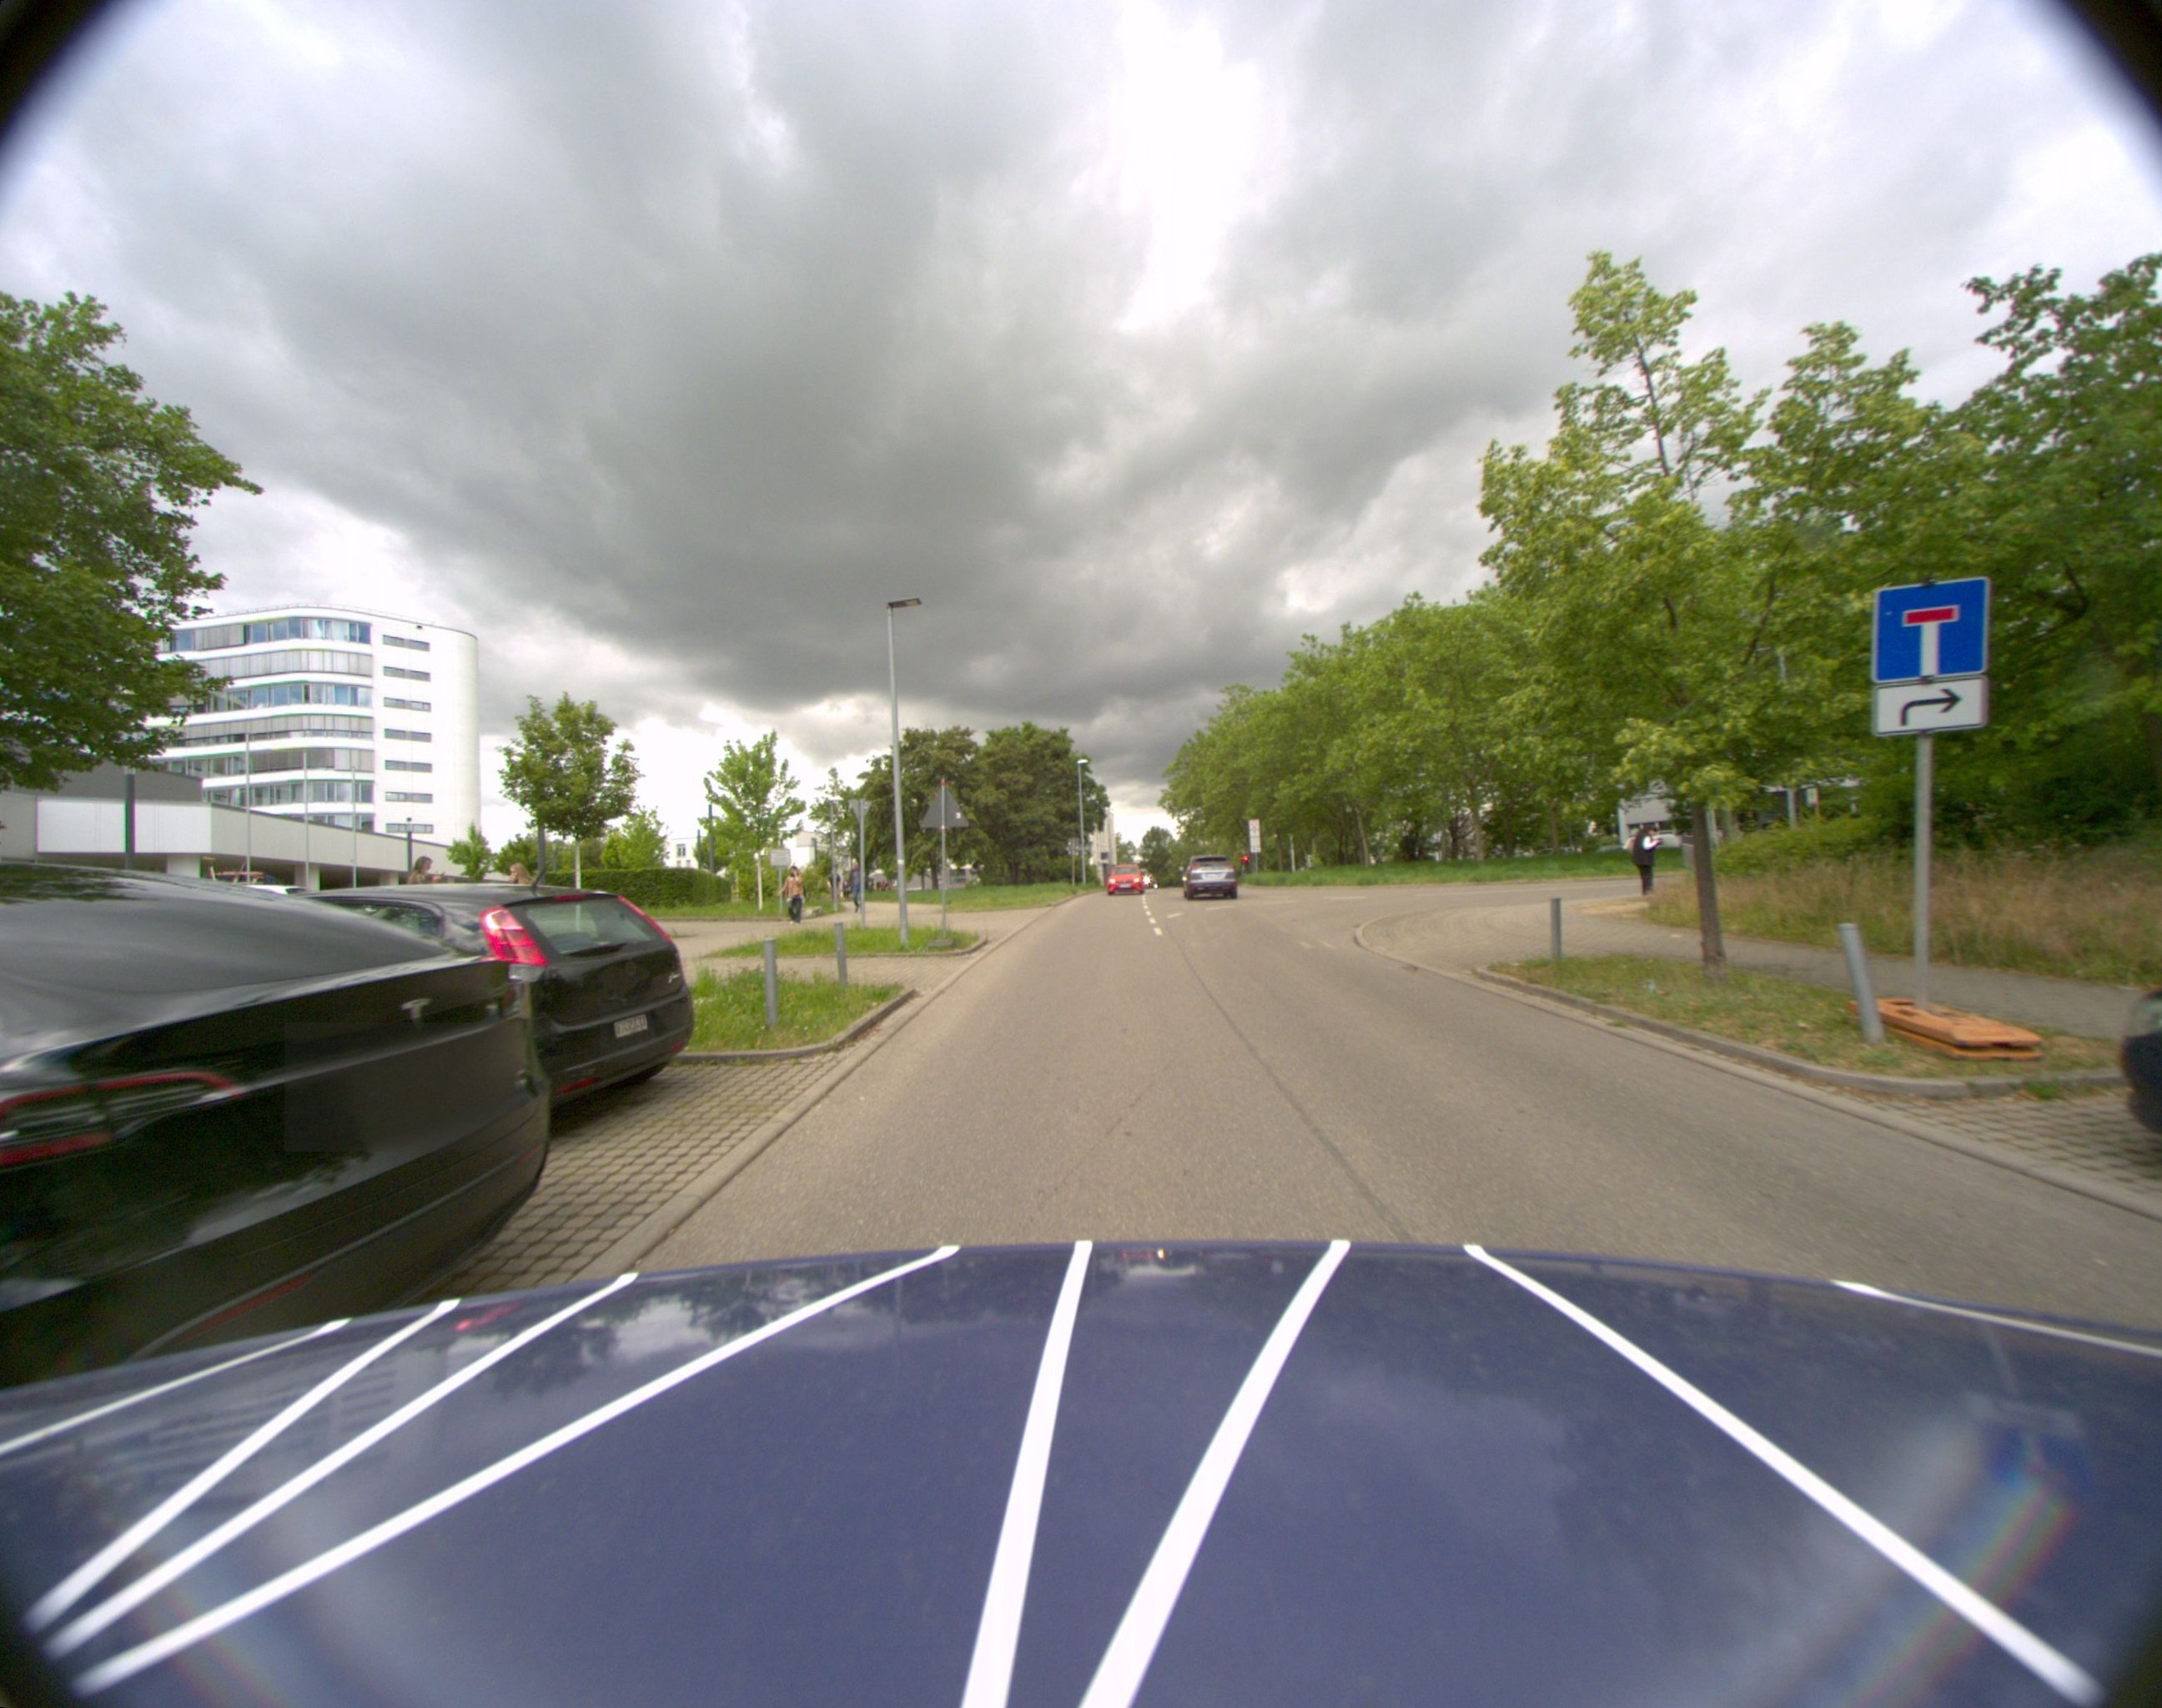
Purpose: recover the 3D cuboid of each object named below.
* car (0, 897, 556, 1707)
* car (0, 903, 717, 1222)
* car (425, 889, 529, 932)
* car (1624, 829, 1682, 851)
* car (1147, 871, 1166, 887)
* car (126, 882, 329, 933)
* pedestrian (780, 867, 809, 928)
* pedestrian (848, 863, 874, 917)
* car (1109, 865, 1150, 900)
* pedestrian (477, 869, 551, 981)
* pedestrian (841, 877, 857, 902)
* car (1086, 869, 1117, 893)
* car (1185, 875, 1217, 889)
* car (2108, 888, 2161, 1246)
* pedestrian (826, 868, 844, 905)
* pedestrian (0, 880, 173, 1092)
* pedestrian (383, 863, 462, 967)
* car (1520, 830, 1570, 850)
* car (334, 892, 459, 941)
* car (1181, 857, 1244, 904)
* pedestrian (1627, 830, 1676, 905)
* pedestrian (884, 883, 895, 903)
[{"bbox_3d":[-3.806,1.008,2.044,3.678,1.565,1.593,-2,1,4],"label":"car"},{"bbox_3d":[-4.510,1.150,4.721,3.678,1.489,1.646,-2,-1,4],"label":"car"},{"bbox_3d":[-33.172,3.062,41.870,4.004,2.001,1.997,-2,-1,-24],"label":"car"},{"bbox_3d":[43.005,-1.044,57.106,4.004,1.455,1.651,-2,-1,-23],"label":"car"},{"bbox_3d":[7.652,2.511,76.582,1.758,1.506,4.002,-3,-1,7],"label":"car"},{"bbox_3d":[-28.106,1.726,25.196,4.122,1.382,1.707,-2,-1,-19],"label":"car"},{"bbox_3d":[-8.093,1.206,21.491,0.653,1.659,0.896,-3,-1,-17],"label":"pedestrian"},{"bbox_3d":[-7.323,1.179,25.283,0.763,1.712,0.885,-2,-1,-17],"label":"pedestrian"},{"bbox_3d":[2.420,1.335,37.104,1.758,1.506,4.002,-3,-1,7],"label":"car"},{"bbox_3d":[-8.664,1.051,11.646,0.690,1.611,0.930,-2,-1,-26],"label":"pedestrian"},{"bbox_3d":[-15.394,2.333,50.417,0.675,1.597,0.668,-3,0,12],"label":"pedestrian"},{"bbox_3d":[1.467,1.846,52.893,1.758,1.506,4.002,-3,-1,7],"label":"car"},{"bbox_3d":[14.379,3.314,91.047,3.654,1.521,1.629,-3,-1,4],"label":"car"},{"bbox_3d":[5.211,0.793,1.232,1.694,1.478,3.954,-5,-1,2],"label":"car"},{"bbox_3d":[-11.161,1.464,34.470,0.639,1.634,0.603,-2,0,-27],"label":"pedestrian"},{"bbox_3d":[-7.573,0.945,5.688,0.620,1.460,0.736,-3,0,2],"label":"pedestrian"},{"bbox_3d":[-11.259,1.027,13.004,0.655,1.701,0.706,-3,0,8],"label":"pedestrian"},{"bbox_3d":[39.853,-1.207,65.263,4.004,1.455,1.651,-2,-1,-23],"label":"car"},{"bbox_3d":[-32.862,2.958,36.642,4.004,2.001,1.997,-2,-1,-24],"label":"car"},{"bbox_3d":[4.865,0.986,28.631,1.900,1.573,4.170,-3,-2,5],"label":"car"},{"bbox_3d":[12.692,0.308,16.923,0.718,1.600,0.635,-5,-3,33],"label":"pedestrian"},{"bbox_3d":[-14.318,2.914,56.850,0.676,1.406,0.666,-2,-1,-19],"label":"pedestrian"}]
